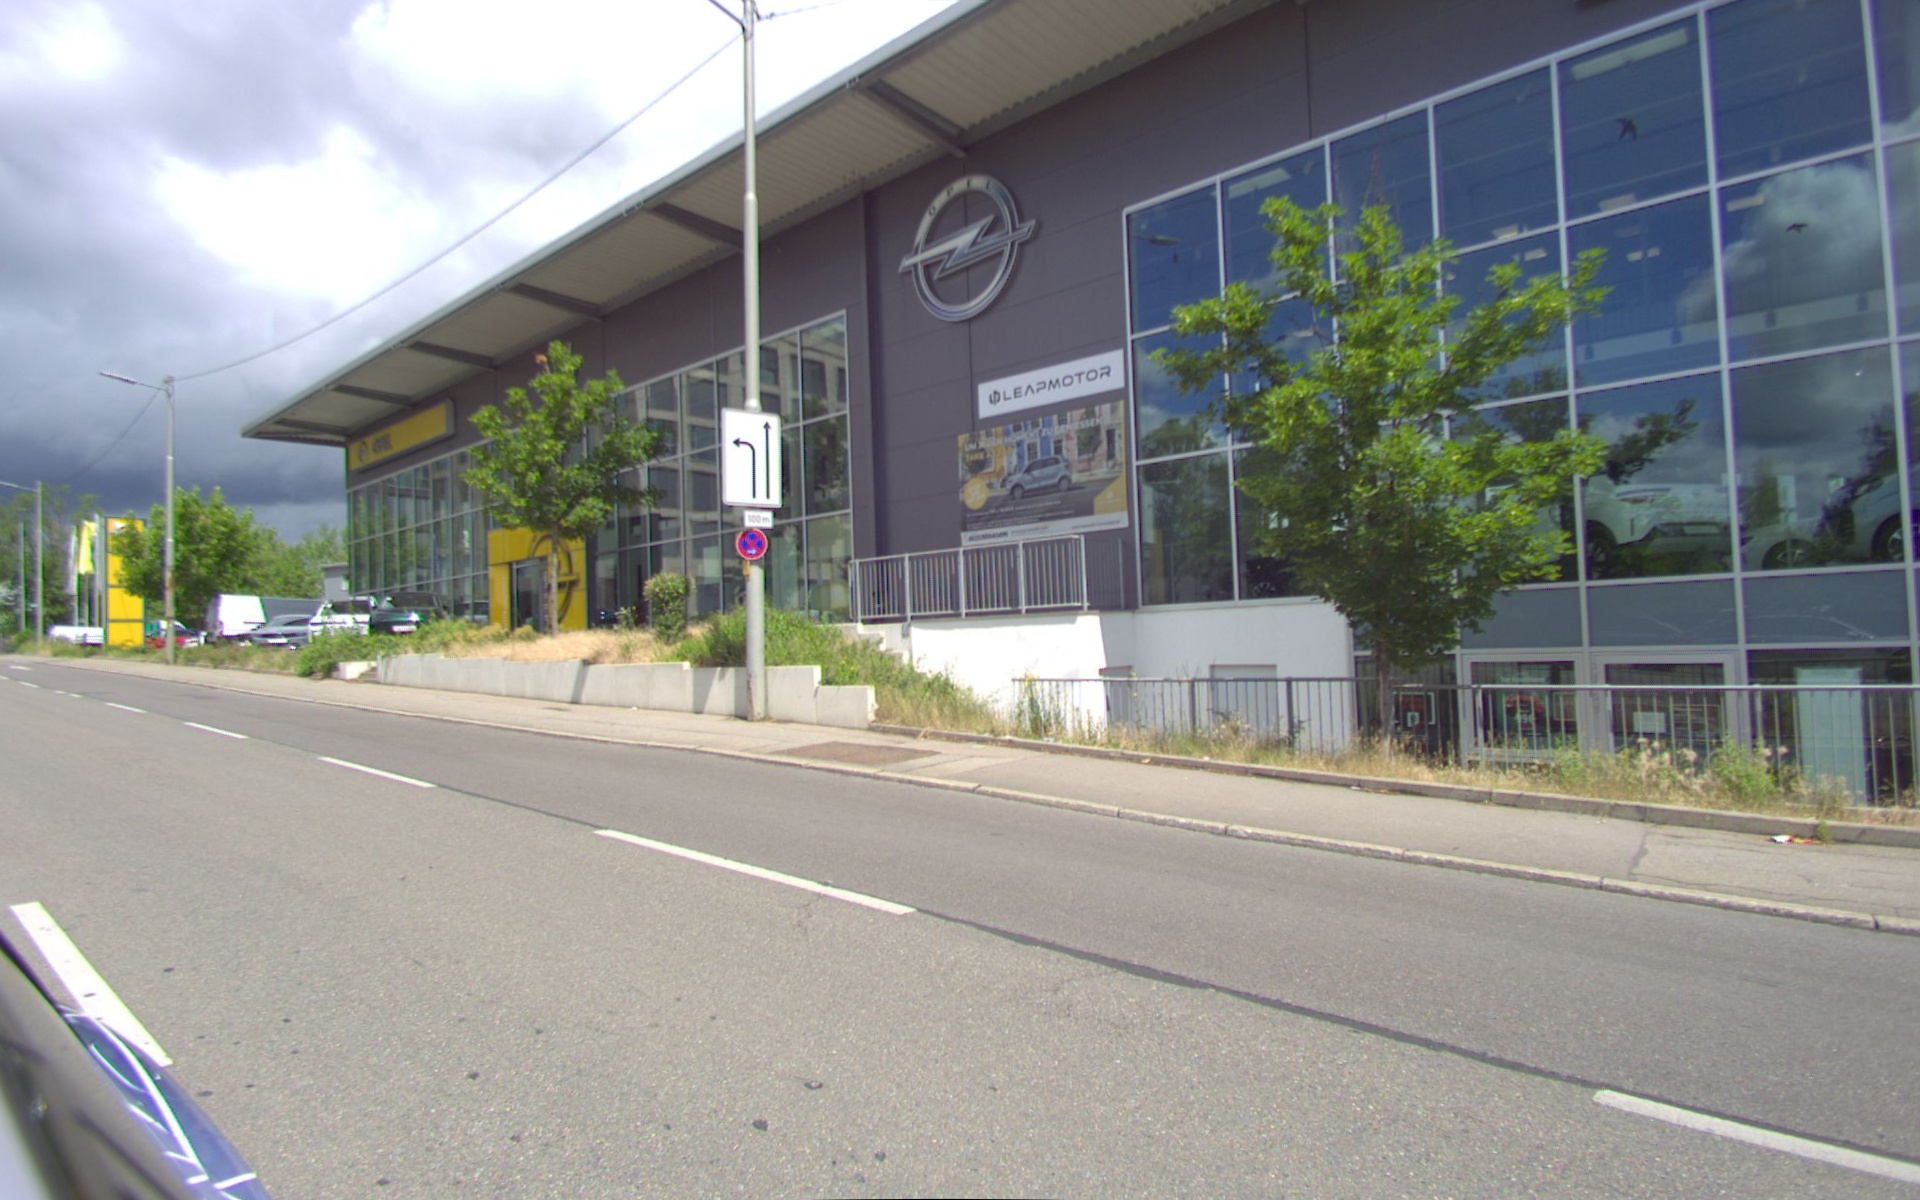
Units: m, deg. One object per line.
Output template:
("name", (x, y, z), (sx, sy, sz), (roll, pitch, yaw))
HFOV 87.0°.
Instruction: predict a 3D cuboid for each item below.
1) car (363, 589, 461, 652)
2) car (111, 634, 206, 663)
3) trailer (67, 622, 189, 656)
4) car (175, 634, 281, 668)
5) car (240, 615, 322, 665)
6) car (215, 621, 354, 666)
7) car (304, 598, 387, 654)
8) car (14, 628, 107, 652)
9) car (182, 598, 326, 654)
("car", (-15.419, 0.620, 28.672), (1.790, 1.625, 4.122), (2, -3, -20))
("car", (-42.024, 2.534, 53.108), (1.814, 1.420, 3.621), (-2, -2, 42))
("trailer", (-45.351, 2.122, 55.252), (2.092, 1.765, 4.776), (-2, -2, 37))
("car", (-35.530, 2.453, 49.172), (1.559, 1.539, 3.897), (-2, -2, 38))
("car", (-23.511, 1.359, 35.186), (1.767, 1.625, 4.122), (1, -2, -26))
("car", (-25.737, 1.646, 38.682), (1.792, 1.625, 4.064), (-2, -2, 32))
("car", (-19.177, 0.803, 31.749), (1.767, 1.625, 4.122), (0, -1, -25))
("car", (-57.625, 2.561, 64.877), (2.093, 1.493, 4.200), (-2, -2, 38))
("car", (-29.229, 1.066, 42.025), (2.177, 2.211, 4.475), (-1, -1, 39))
